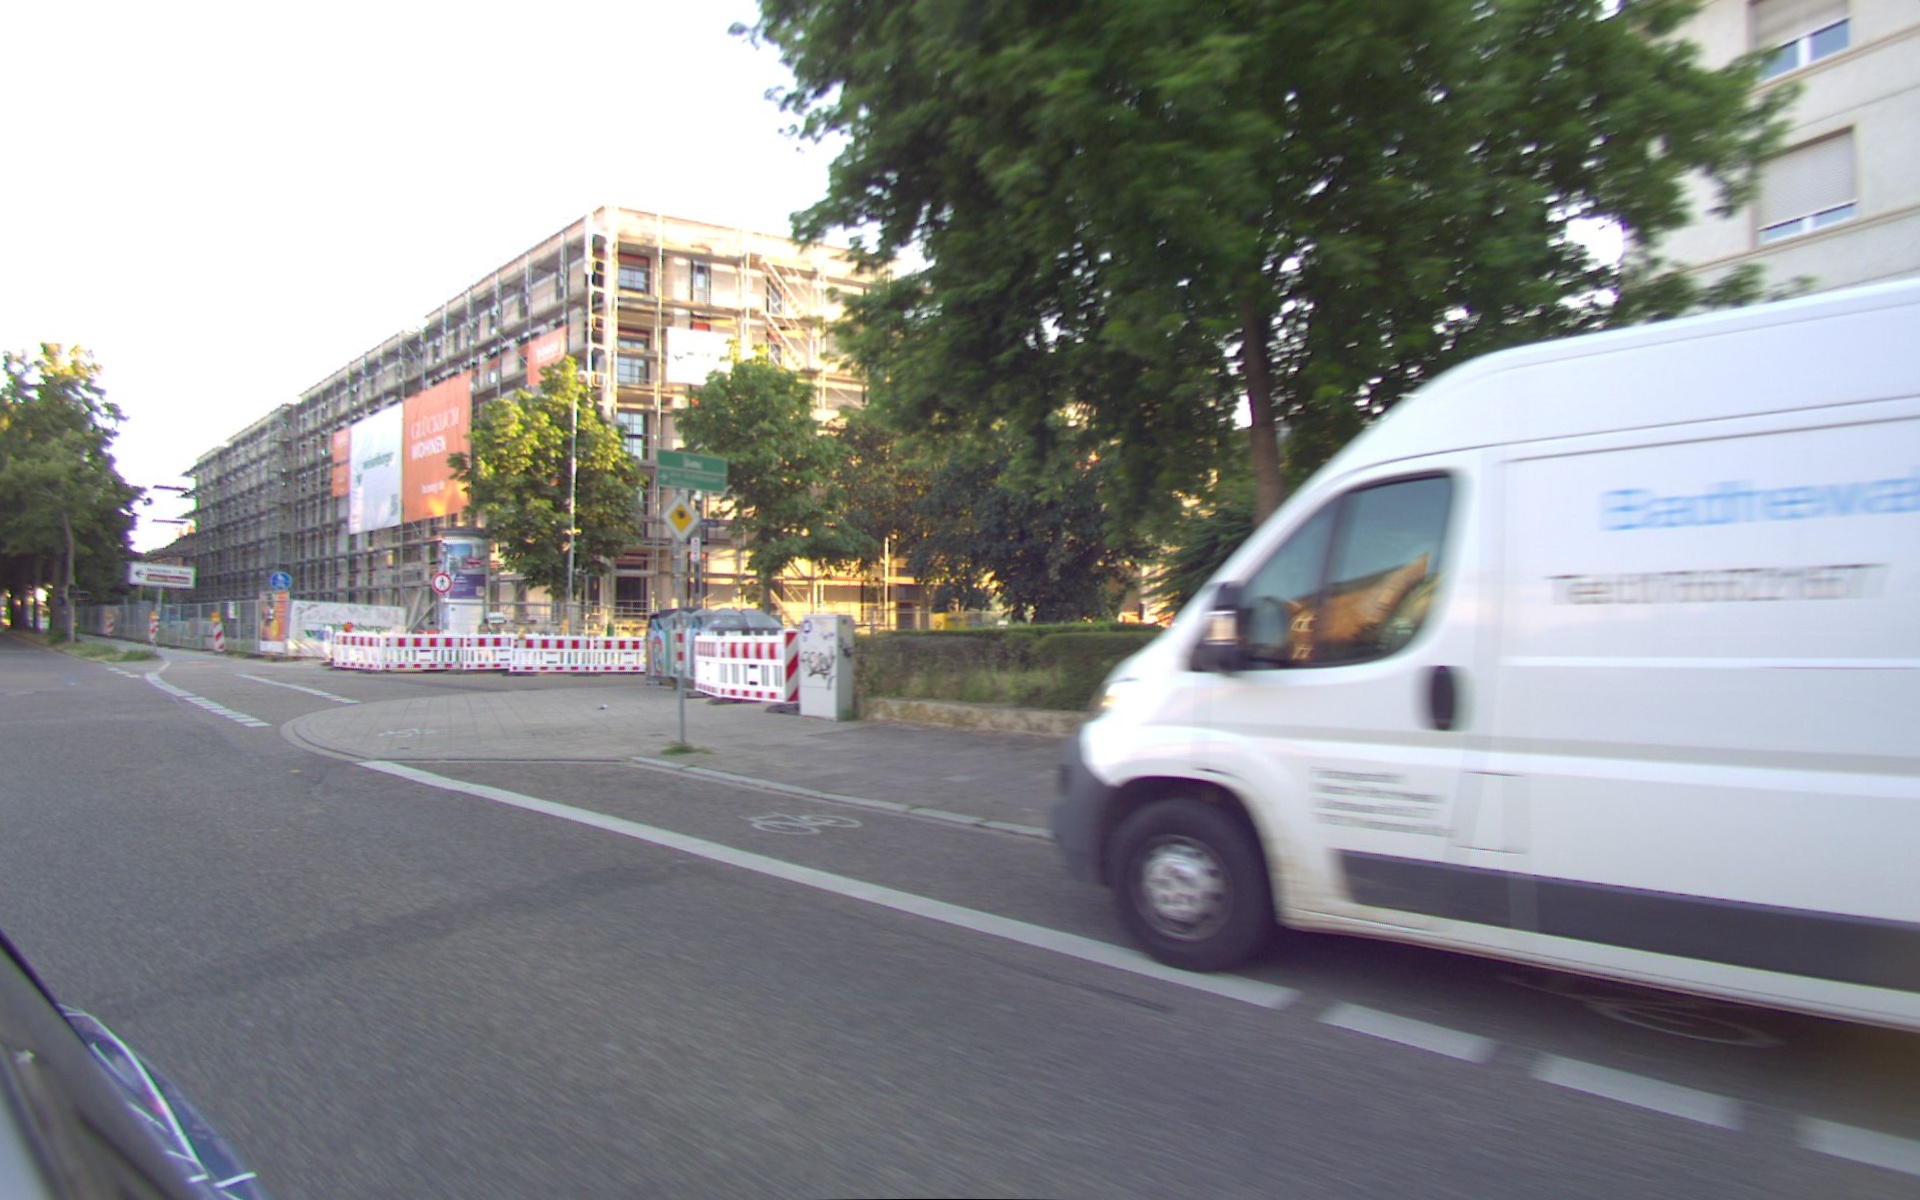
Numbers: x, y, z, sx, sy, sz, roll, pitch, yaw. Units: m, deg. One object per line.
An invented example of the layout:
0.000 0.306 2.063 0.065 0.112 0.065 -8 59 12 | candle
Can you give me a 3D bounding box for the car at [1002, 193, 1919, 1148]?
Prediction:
3.229 0.230 3.424 6.099 2.480 2.156 -1 -5 41 | car
